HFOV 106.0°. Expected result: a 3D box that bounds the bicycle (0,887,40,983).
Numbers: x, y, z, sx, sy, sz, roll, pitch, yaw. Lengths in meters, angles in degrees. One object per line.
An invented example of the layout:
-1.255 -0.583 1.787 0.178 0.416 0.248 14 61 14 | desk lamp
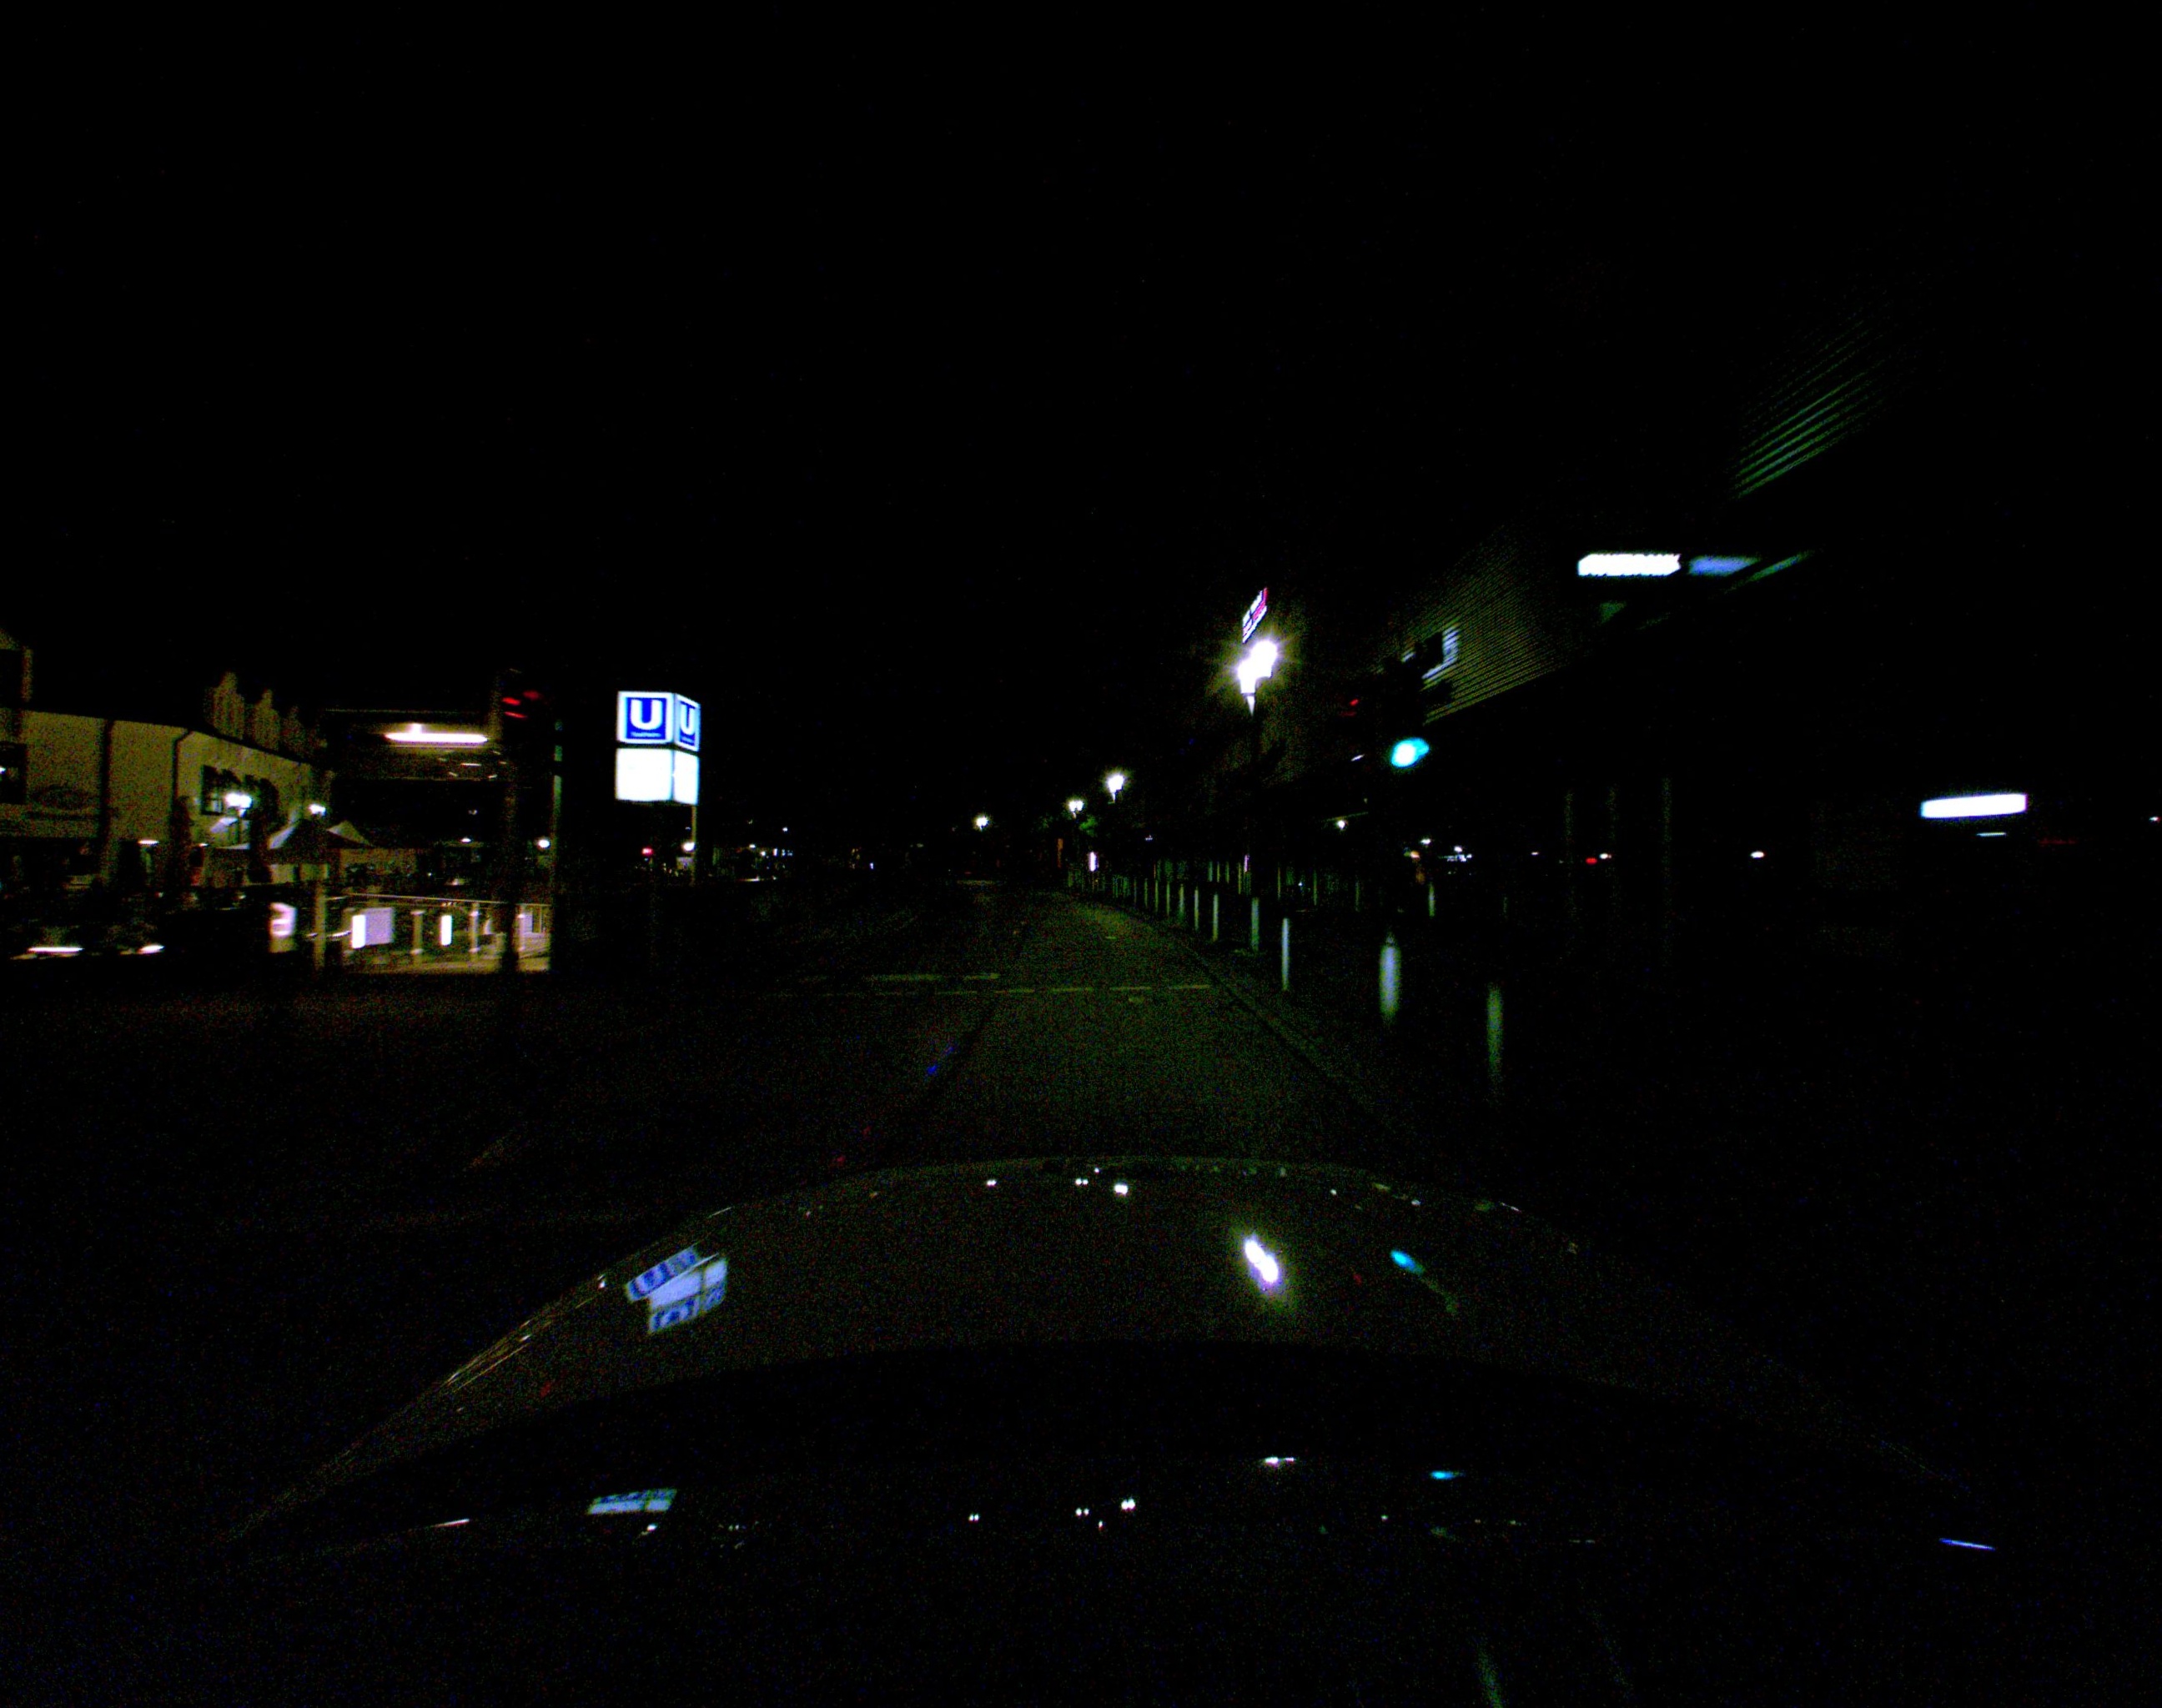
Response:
-13.709 1.022 9.958 0.611 1.165 1.730 -1 0 -31 | bicycle

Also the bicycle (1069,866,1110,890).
0.369 1.071 36.912 1.757 1.062 0.650 0 0 -24 | bicycle

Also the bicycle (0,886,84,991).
-13.200 1.019 10.063 0.547 1.154 1.730 -1 0 -31 | bicycle

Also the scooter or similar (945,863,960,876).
-12.546 1.529 79.414 1.253 1.227 0.593 2 -1 -27 | scooter or similar

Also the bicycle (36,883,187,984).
-12.864 1.003 10.880 0.764 1.162 1.730 -1 0 -31 | bicycle
